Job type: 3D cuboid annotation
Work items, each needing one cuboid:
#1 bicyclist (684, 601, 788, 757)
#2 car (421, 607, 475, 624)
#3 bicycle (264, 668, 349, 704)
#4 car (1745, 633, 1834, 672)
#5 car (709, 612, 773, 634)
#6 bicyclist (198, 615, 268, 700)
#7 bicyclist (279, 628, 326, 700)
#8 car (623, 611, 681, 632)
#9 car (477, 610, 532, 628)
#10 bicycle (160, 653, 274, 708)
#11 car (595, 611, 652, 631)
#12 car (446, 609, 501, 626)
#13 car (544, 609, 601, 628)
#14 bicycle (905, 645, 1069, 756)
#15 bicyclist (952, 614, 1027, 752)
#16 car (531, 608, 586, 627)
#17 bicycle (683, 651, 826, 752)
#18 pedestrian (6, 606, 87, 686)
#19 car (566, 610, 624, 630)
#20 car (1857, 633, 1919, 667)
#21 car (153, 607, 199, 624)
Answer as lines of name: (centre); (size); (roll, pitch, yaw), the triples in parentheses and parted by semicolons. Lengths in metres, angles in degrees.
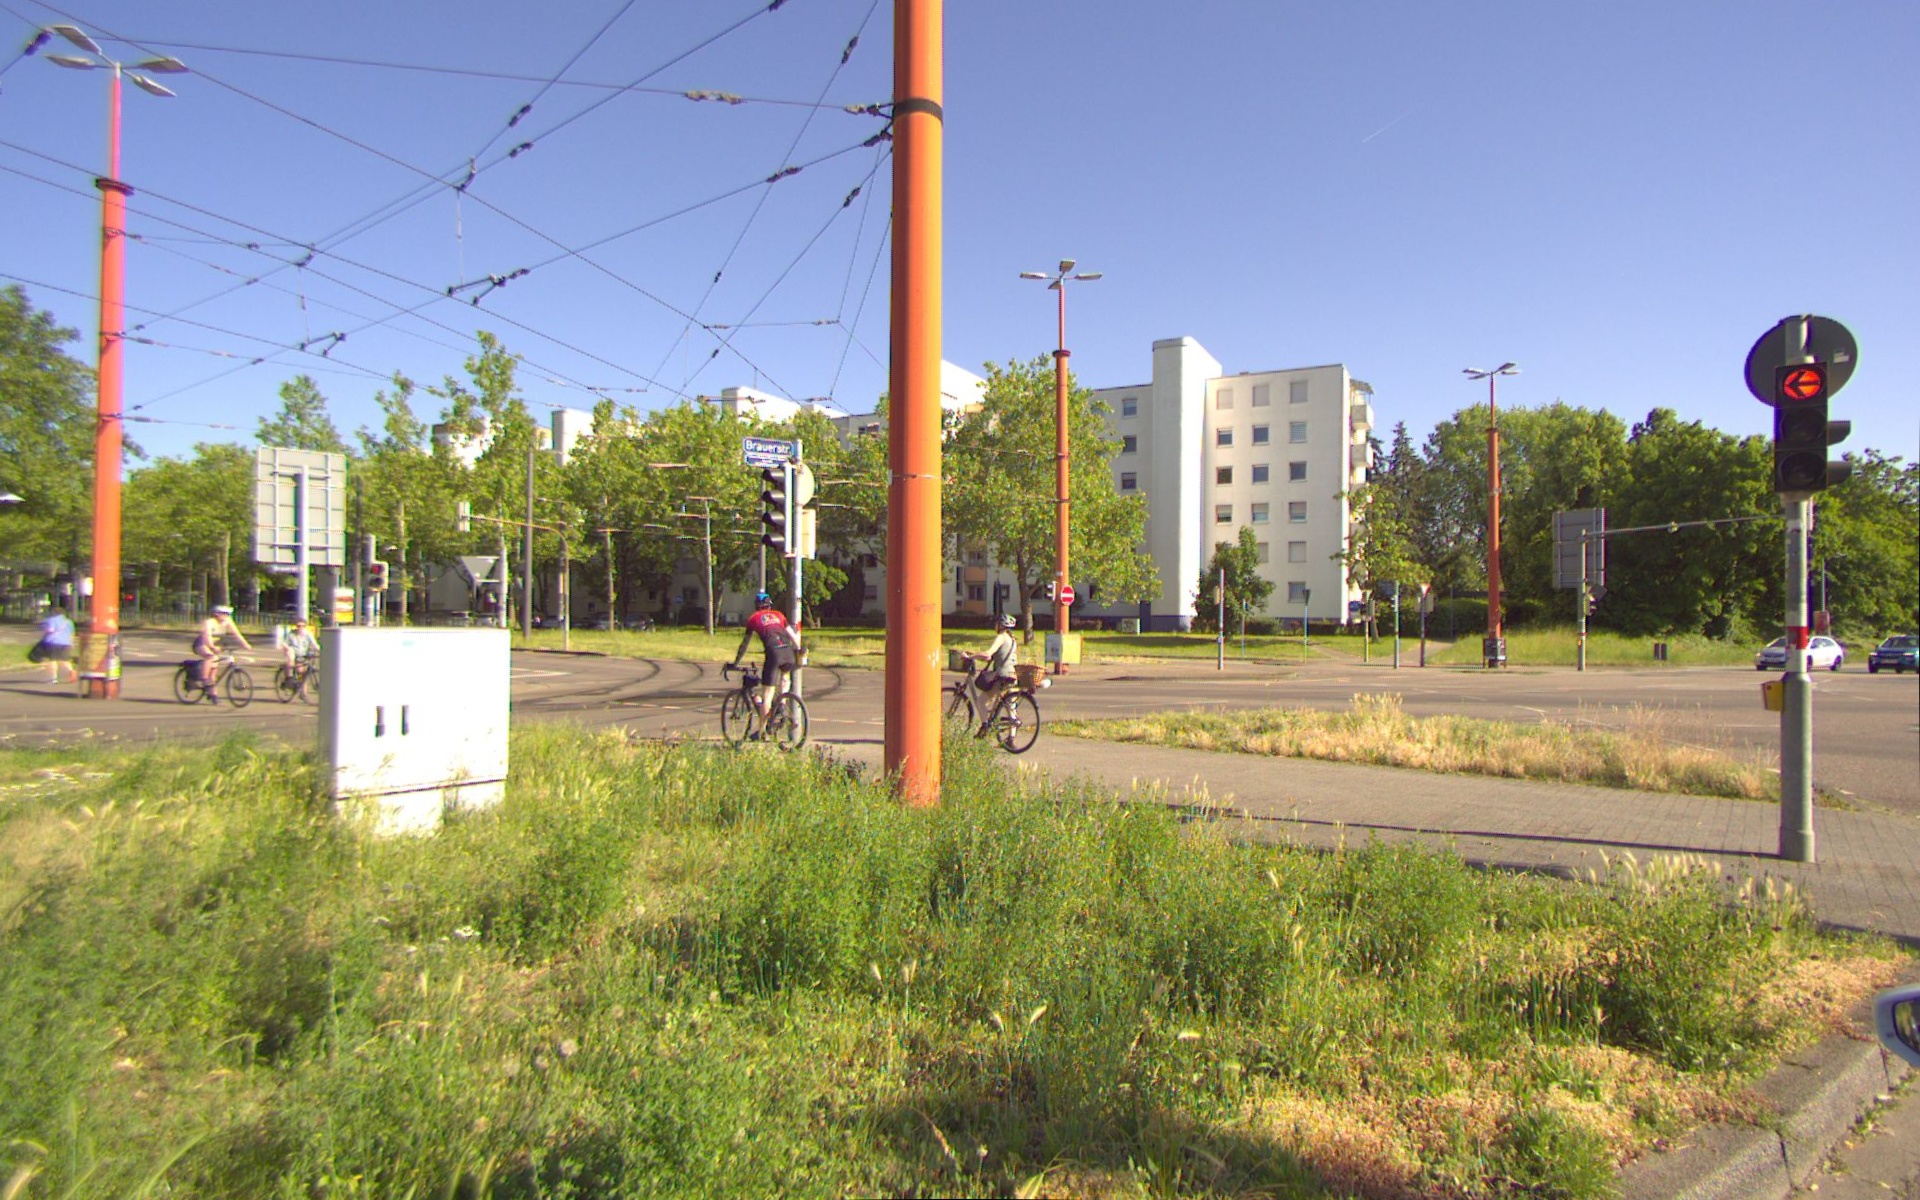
bicyclist: (-2.664, 0.903, 11.947); (0.981, 1.764, 0.734); (0, -1, 37)
car: (-44.778, 1.385, 87.895); (3.935, 1.428, 1.794); (1, -1, -17)
bicycle: (-12.953, 1.693, 19.922); (1.393, 0.668, 0.435); (1, -1, 1)
car: (35.057, 2.183, 42.431); (3.891, 1.552, 1.752); (1, -1, -31)
car: (-14.531, 1.549, 66.842); (1.770, 1.428, 3.987); (0, -1, 35)
bicyclist: (-13.721, 1.068, 18.970); (0.752, 1.565, 0.732); (1, -1, -1)
bicyclist: (-13.050, 1.268, 19.951); (0.616, 1.399, 0.443); (1, -1, -1)
car: (-22.244, 1.546, 72.645); (3.934, 1.428, 1.794); (1, -1, -16)
car: (-38.020, 1.566, 83.884); (3.935, 1.428, 1.794); (1, -1, -17)
bicycle: (-13.981, 1.503, 18.930); (1.612, 0.974, 0.685); (1, -1, -1)
car: (-24.984, 1.555, 74.696); (3.934, 1.428, 1.794); (1, -1, -16)
car: (-41.423, 1.484, 85.625); (3.935, 1.428, 1.794); (1, -1, -17)
car: (-30.065, 1.416, 78.075); (3.934, 1.428, 1.794); (1, -1, -16)
bicycle: (0.306, 1.176, 12.217); (1.915, 1.210, 0.690); (0, -1, 33)
bicyclist: (0.362, 0.982, 12.185); (0.651, 1.605, 0.671); (0, -1, 33)
car: (-31.926, 1.367, 79.972); (3.935, 1.428, 1.794); (1, -1, -17)
bicycle: (-2.504, 1.180, 12.142); (1.804, 1.071, 0.719); (0, -1, 40)
pedestrian: (-21.232, 1.050, 23.364); (0.968, 1.817, 0.955); (1, -1, 5)
car: (-27.566, 1.484, 75.920); (3.934, 1.428, 1.794); (1, -1, -16)
car: (37.167, 1.961, 39.620); (3.571, 1.260, 1.730); (1, -1, -31)
car: (-93.976, 1.878, 120.457); (1.969, 2.040, 3.984); (0, -1, 38)
